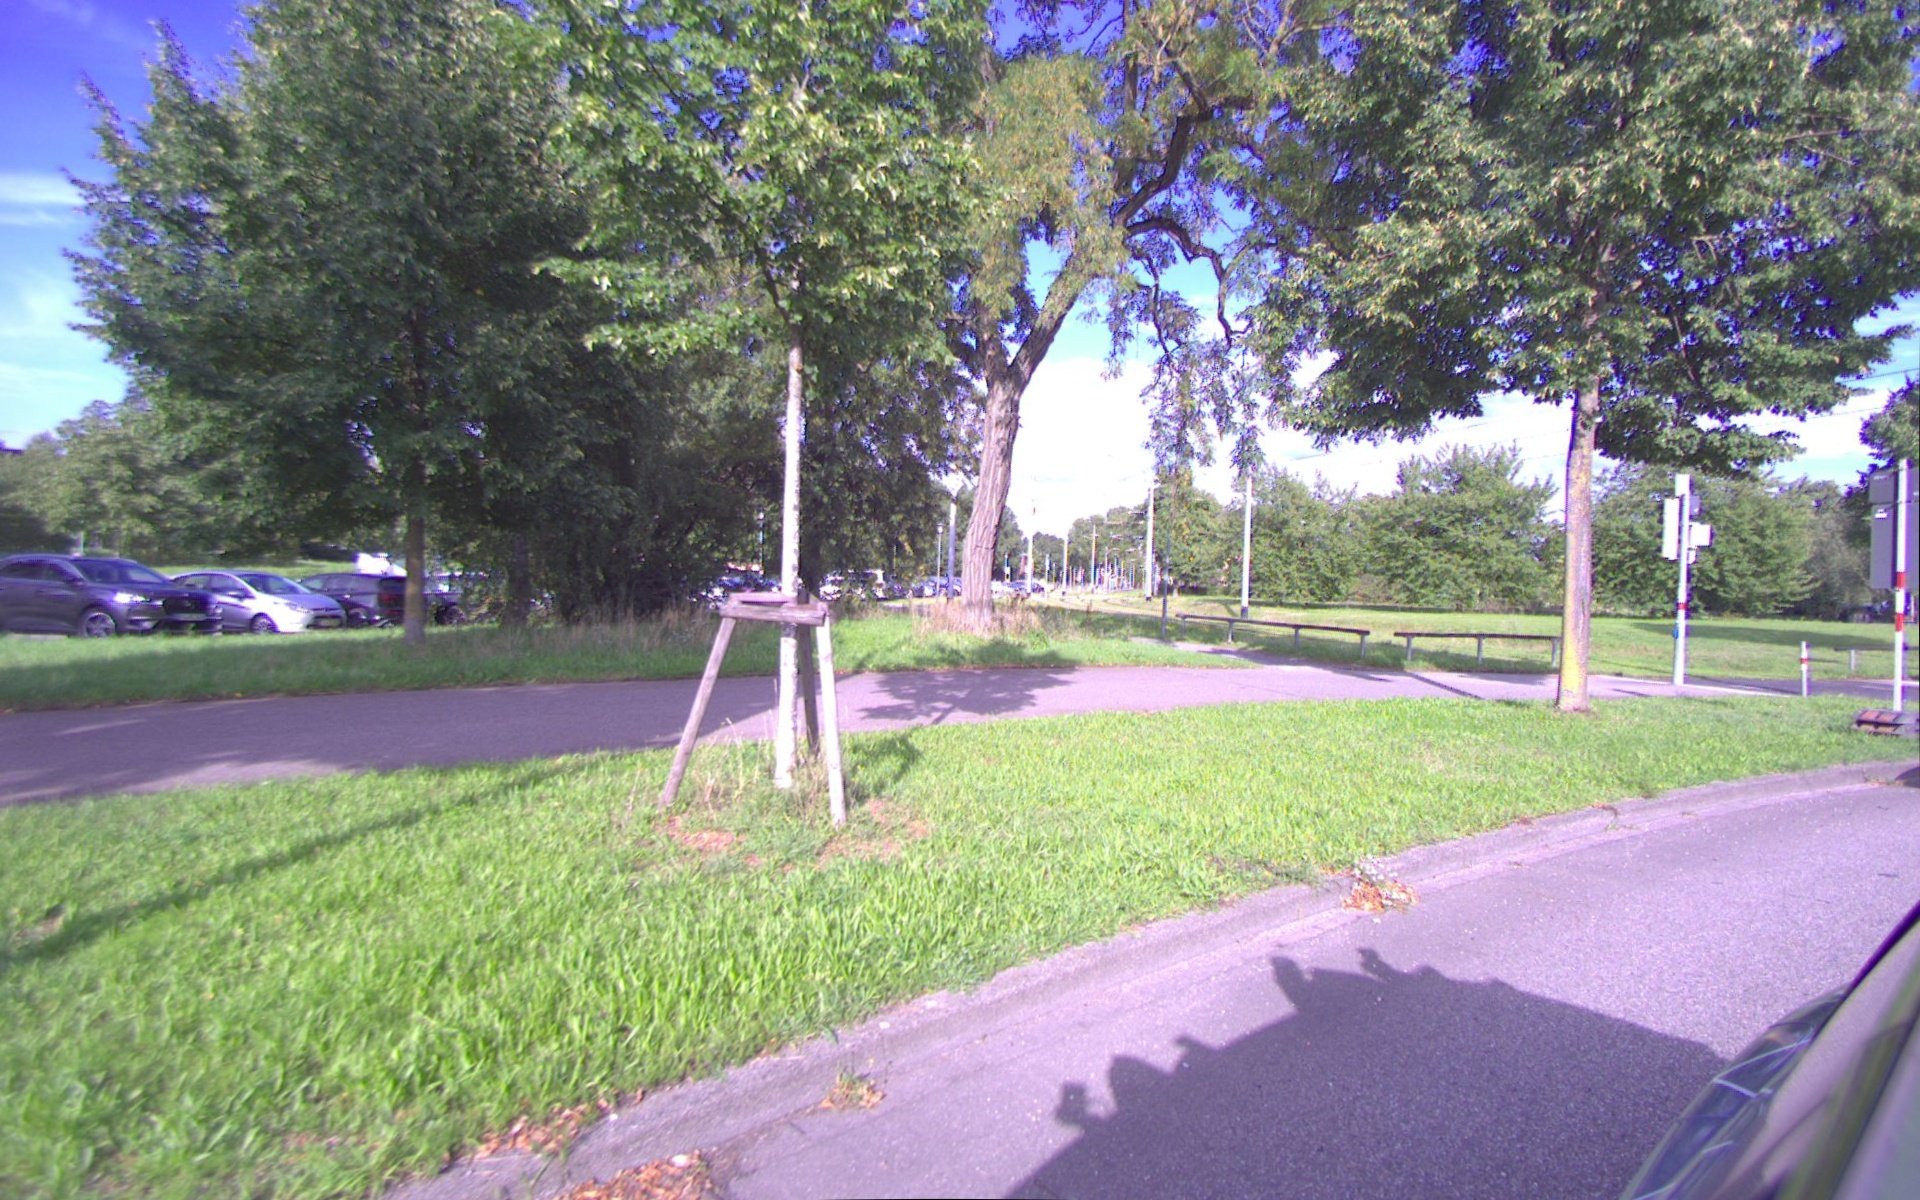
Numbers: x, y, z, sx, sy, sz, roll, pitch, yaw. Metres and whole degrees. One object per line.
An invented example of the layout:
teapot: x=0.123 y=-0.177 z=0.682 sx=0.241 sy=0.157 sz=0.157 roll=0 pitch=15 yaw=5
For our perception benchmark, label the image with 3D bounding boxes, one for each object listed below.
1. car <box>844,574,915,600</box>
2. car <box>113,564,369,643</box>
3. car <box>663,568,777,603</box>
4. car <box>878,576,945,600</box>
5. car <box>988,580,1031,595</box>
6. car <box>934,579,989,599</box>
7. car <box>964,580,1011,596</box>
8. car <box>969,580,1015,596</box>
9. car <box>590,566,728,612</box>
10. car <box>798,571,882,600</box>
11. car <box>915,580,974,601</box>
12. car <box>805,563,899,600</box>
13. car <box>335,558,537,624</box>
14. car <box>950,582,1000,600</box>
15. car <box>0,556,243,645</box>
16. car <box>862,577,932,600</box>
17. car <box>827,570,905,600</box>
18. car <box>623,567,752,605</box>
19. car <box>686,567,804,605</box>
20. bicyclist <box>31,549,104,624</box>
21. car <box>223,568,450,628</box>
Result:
car: x=-5.183 y=-0.868 z=65.011 sx=4.065 sy=1.534 sz=2.021 roll=2 pitch=1 yaw=23
car: x=-15.108 y=0.028 z=21.308 sx=4.665 sy=1.458 sz=1.853 roll=2 pitch=1 yaw=15
car: x=-10.273 y=-0.632 z=43.322 sx=4.404 sy=1.379 sz=1.853 roll=2 pitch=1 yaw=15
car: x=-3.457 y=-0.867 z=71.930 sx=4.410 sy=1.523 sz=1.850 roll=2 pitch=1 yaw=18
car: x=5.436 y=-1.413 z=111.507 sx=4.423 sy=1.560 sz=1.844 roll=2 pitch=1 yaw=25
car: x=0.136 y=-0.973 z=88.449 sx=4.410 sy=1.560 sz=1.849 roll=2 pitch=1 yaw=18
car: x=2.811 y=-1.267 z=103.220 sx=4.405 sy=1.494 sz=1.791 roll=2 pitch=1 yaw=15
car: x=3.356 y=-1.286 z=106.457 sx=4.423 sy=1.560 sz=1.844 roll=2 pitch=1 yaw=25
car: x=-11.274 y=-0.434 z=37.991 sx=4.679 sy=1.534 sz=1.853 roll=2 pitch=1 yaw=15
car: x=-6.745 y=-0.825 z=57.095 sx=4.393 sy=1.534 sz=1.858 roll=2 pitch=1 yaw=7
car: x=-1.268 y=-0.820 z=82.059 sx=4.410 sy=1.560 sz=1.849 roll=2 pitch=1 yaw=18
car: x=-6.372 y=-1.110 z=59.865 sx=5.045 sy=2.032 sz=2.304 roll=2 pitch=1 yaw=18
car: x=-13.674 y=-0.258 z=26.472 sx=4.665 sy=1.534 sz=1.853 roll=2 pitch=1 yaw=15
car: x=1.405 y=-0.834 z=96.227 sx=4.410 sy=1.560 sz=1.849 roll=2 pitch=1 yaw=18
car: x=-15.608 y=-0.043 z=18.356 sx=4.450 sy=1.398 sz=1.853 roll=2 pitch=1 yaw=15
car: x=-4.310 y=-0.795 z=69.334 sx=4.410 sy=1.416 sz=1.850 roll=2 pitch=1 yaw=18
car: x=-5.842 y=-0.924 z=62.904 sx=4.418 sy=1.695 sz=2.087 roll=2 pitch=1 yaw=23
car: x=-10.985 y=-0.598 z=40.872 sx=4.764 sy=1.375 sz=1.853 roll=2 pitch=1 yaw=15
car: x=-9.607 y=-0.641 z=45.351 sx=4.874 sy=1.534 sz=1.853 roll=2 pitch=1 yaw=15
bicyclist: x=-19.436 y=-0.304 z=22.056 sx=0.763 sy=1.594 sz=0.953 roll=2 pitch=1 yaw=22
car: x=-14.623 y=-0.077 z=23.772 sx=4.665 sy=1.222 sz=1.853 roll=2 pitch=1 yaw=15
